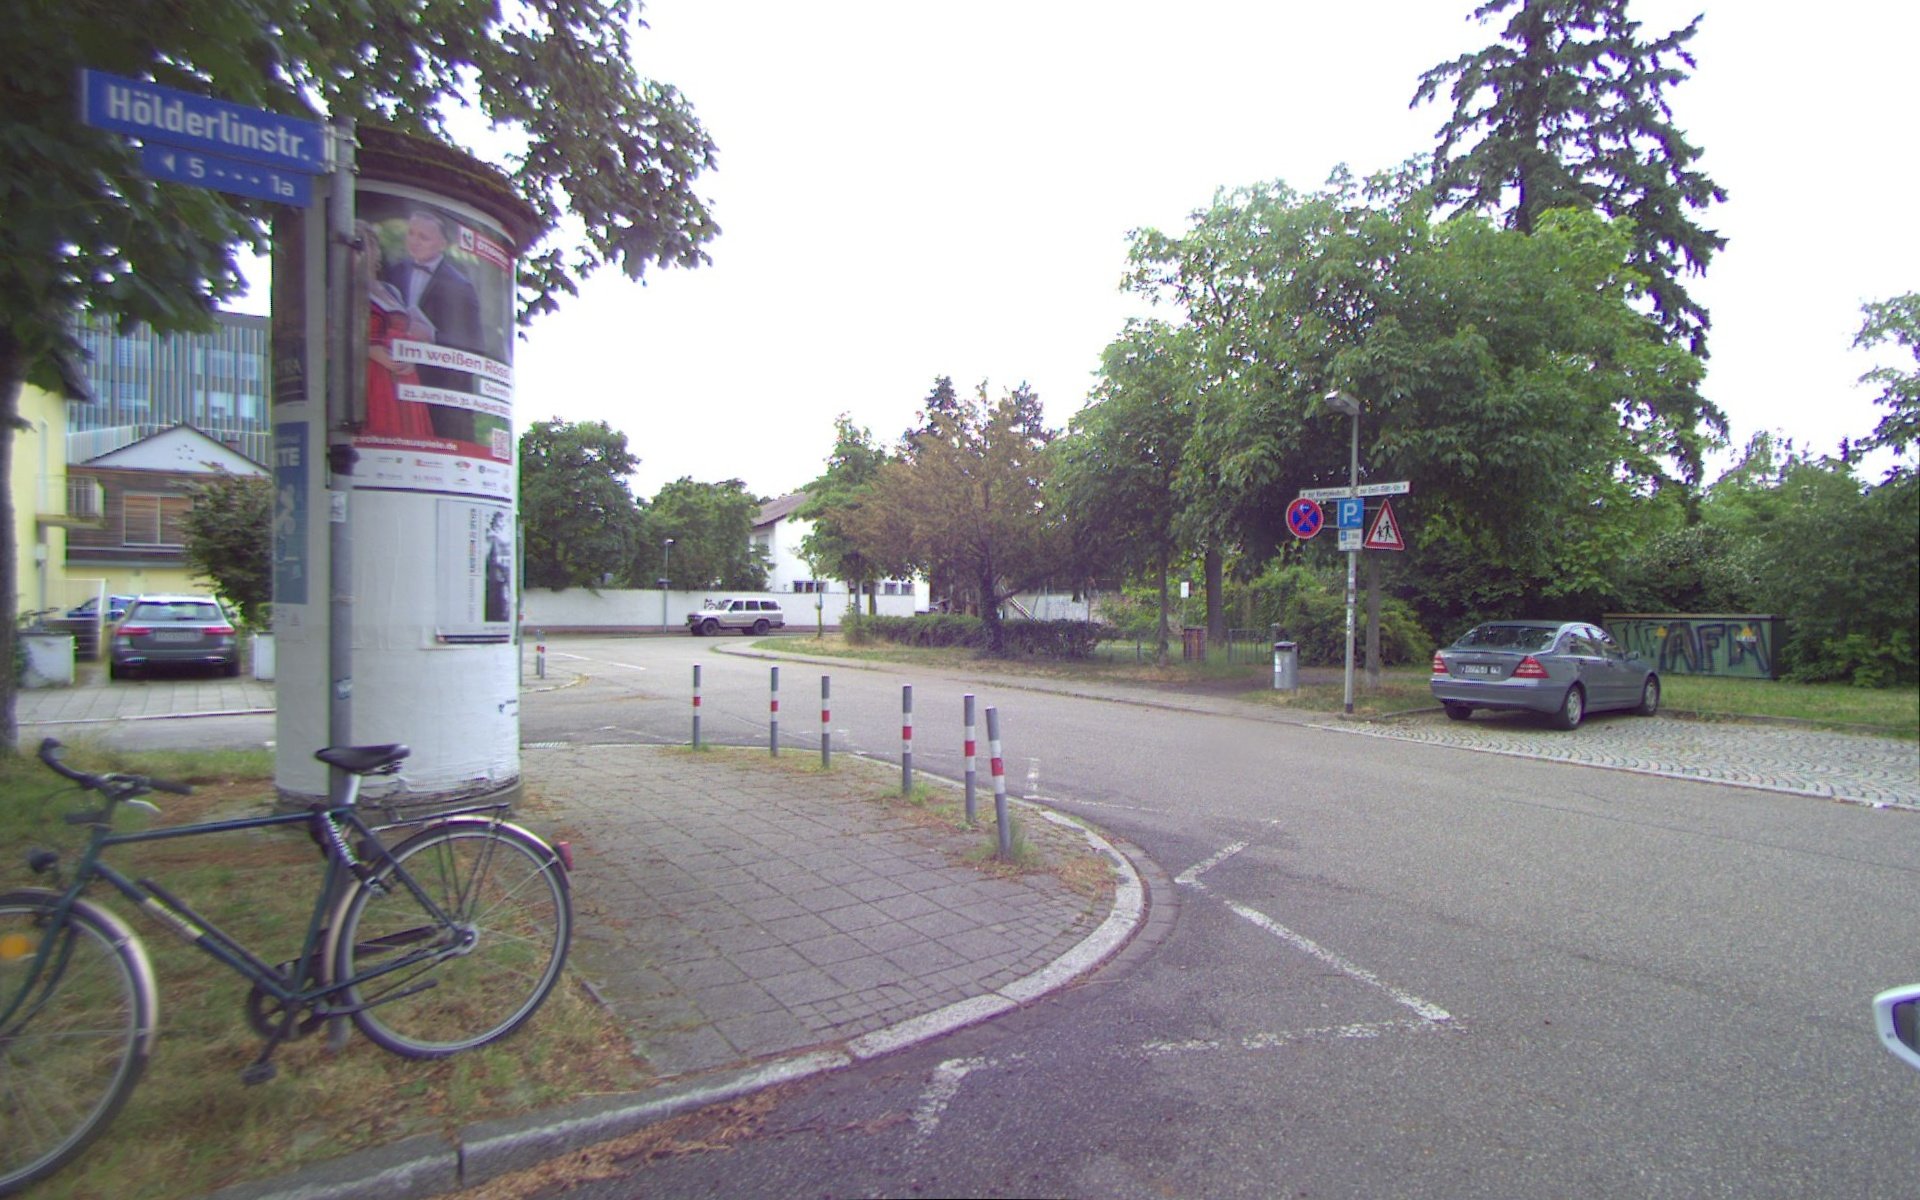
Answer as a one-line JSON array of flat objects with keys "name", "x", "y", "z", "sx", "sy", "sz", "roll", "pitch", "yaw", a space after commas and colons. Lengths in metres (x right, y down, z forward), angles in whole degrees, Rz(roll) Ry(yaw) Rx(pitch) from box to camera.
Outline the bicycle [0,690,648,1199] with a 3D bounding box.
[{"name": "bicycle", "x": -1.979, "y": 0.831, "z": 2.684, "sx": 2.165, "sy": 0.999, "sz": 0.506, "roll": 0, "pitch": 3, "yaw": -41}]

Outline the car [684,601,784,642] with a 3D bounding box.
[{"name": "car", "x": -11.250, "y": 1.042, "z": 50.168, "sx": 4.452, "sy": 1.884, "sz": 1.979, "roll": 0, "pitch": 2, "yaw": -37}]

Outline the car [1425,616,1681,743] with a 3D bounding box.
[{"name": "car", "x": 8.685, "y": 1.020, "z": 14.557, "sx": 4.518, "sy": 1.474, "sz": 1.662, "roll": -1, "pitch": 1, "yaw": -38}]

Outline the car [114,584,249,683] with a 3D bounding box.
[{"name": "car", "x": -14.486, "y": 0.570, "z": 18.807, "sx": 1.826, "sy": 1.632, "sz": 3.958, "roll": 1, "pitch": -1, "yaw": -37}]

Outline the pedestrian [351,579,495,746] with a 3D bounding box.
[{"name": "pedestrian", "x": -6.262, "y": 0.694, "z": 11.760, "sx": 1.194, "sy": 1.860, "sz": 0.879, "roll": 0, "pitch": 0, "yaw": 13}]
